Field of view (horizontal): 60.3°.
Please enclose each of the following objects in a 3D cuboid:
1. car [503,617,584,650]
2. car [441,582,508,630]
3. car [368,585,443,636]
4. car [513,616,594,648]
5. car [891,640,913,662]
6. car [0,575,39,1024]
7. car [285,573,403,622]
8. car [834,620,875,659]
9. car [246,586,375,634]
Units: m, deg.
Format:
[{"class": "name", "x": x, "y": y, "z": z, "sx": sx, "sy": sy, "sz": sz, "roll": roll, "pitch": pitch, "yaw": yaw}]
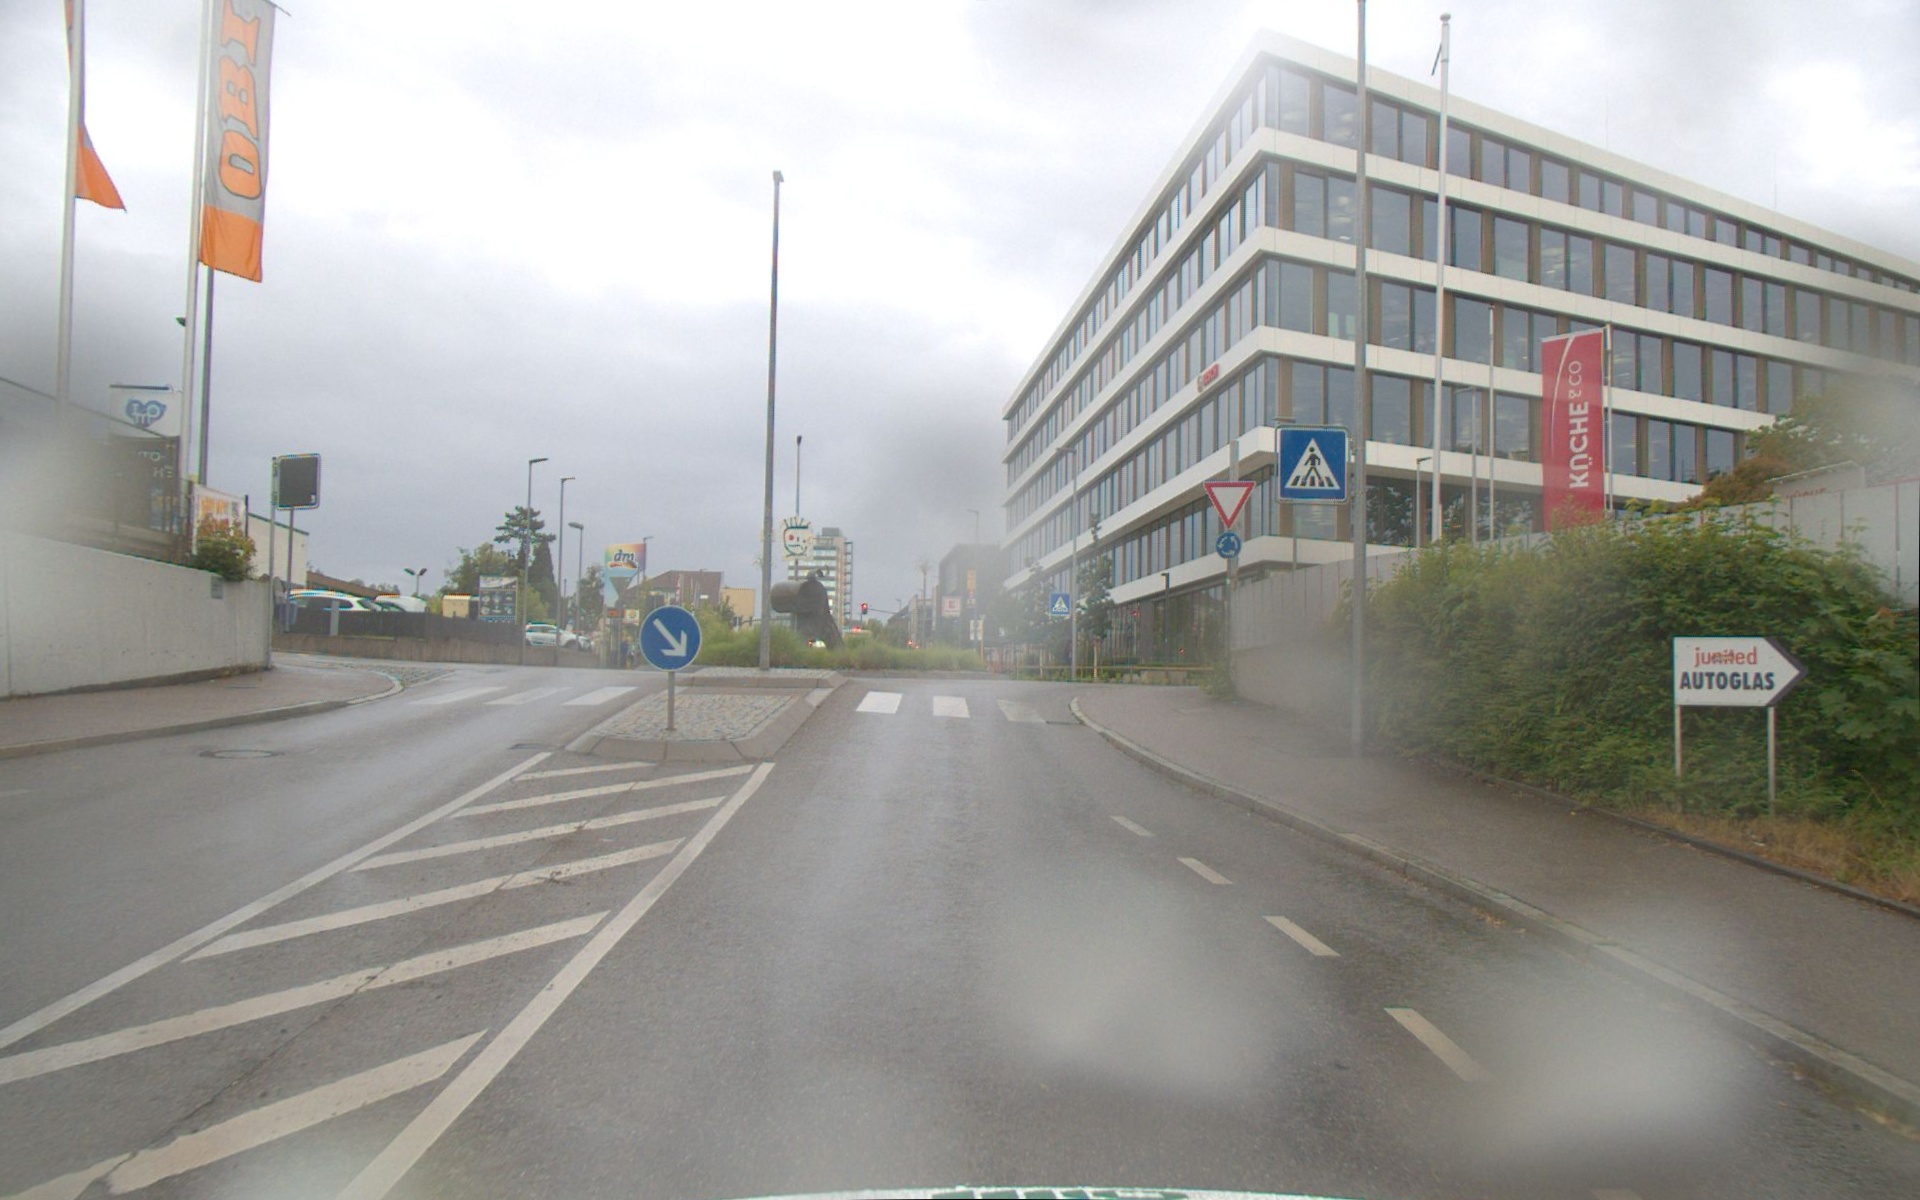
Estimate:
[{"class": "car", "x": -21.783, "y": 1.773, "z": 86.479, "sx": 3.959, "sy": 1.445, "sz": 1.759, "roll": 4, "pitch": -4, "yaw": -18}, {"class": "car", "x": -22.168, "y": 0.274, "z": 75.677, "sx": 1.955, "sy": 2.049, "sz": 4.994, "roll": 2, "pitch": 0, "yaw": -5}, {"class": "car", "x": -24.097, "y": 0.429, "z": 72.050, "sx": 1.955, "sy": 2.049, "sz": 4.993, "roll": 2, "pitch": 0, "yaw": -6}, {"class": "car", "x": -21.821, "y": 1.741, "z": 88.953, "sx": 3.944, "sy": 1.445, "sz": 1.766, "roll": 3, "pitch": -3, "yaw": -6}, {"class": "car", "x": -5.781, "y": 5.075, "z": 165.205, "sx": 1.953, "sy": 2.049, "sz": 5.000, "roll": 2, "pitch": 0, "yaw": 0}, {"class": "car", "x": -3.878, "y": 0.642, "z": 3.036, "sx": 1.962, "sy": 1.451, "sz": 4.777, "roll": 2, "pitch": 1, "yaw": -5}, {"class": "car", "x": -21.110, "y": -0.081, "z": 56.752, "sx": 3.462, "sy": 1.445, "sz": 1.427, "roll": 3, "pitch": -3, "yaw": -6}, {"class": "car", "x": -5.868, "y": 2.239, "z": 92.158, "sx": 1.953, "sy": 1.937, "sz": 3.999, "roll": 2, "pitch": -3, "yaw": 0}, {"class": "car", "x": -21.324, "y": 0.342, "z": 54.454, "sx": 3.462, "sy": 1.308, "sz": 1.997, "roll": 3, "pitch": -3, "yaw": -6}]
